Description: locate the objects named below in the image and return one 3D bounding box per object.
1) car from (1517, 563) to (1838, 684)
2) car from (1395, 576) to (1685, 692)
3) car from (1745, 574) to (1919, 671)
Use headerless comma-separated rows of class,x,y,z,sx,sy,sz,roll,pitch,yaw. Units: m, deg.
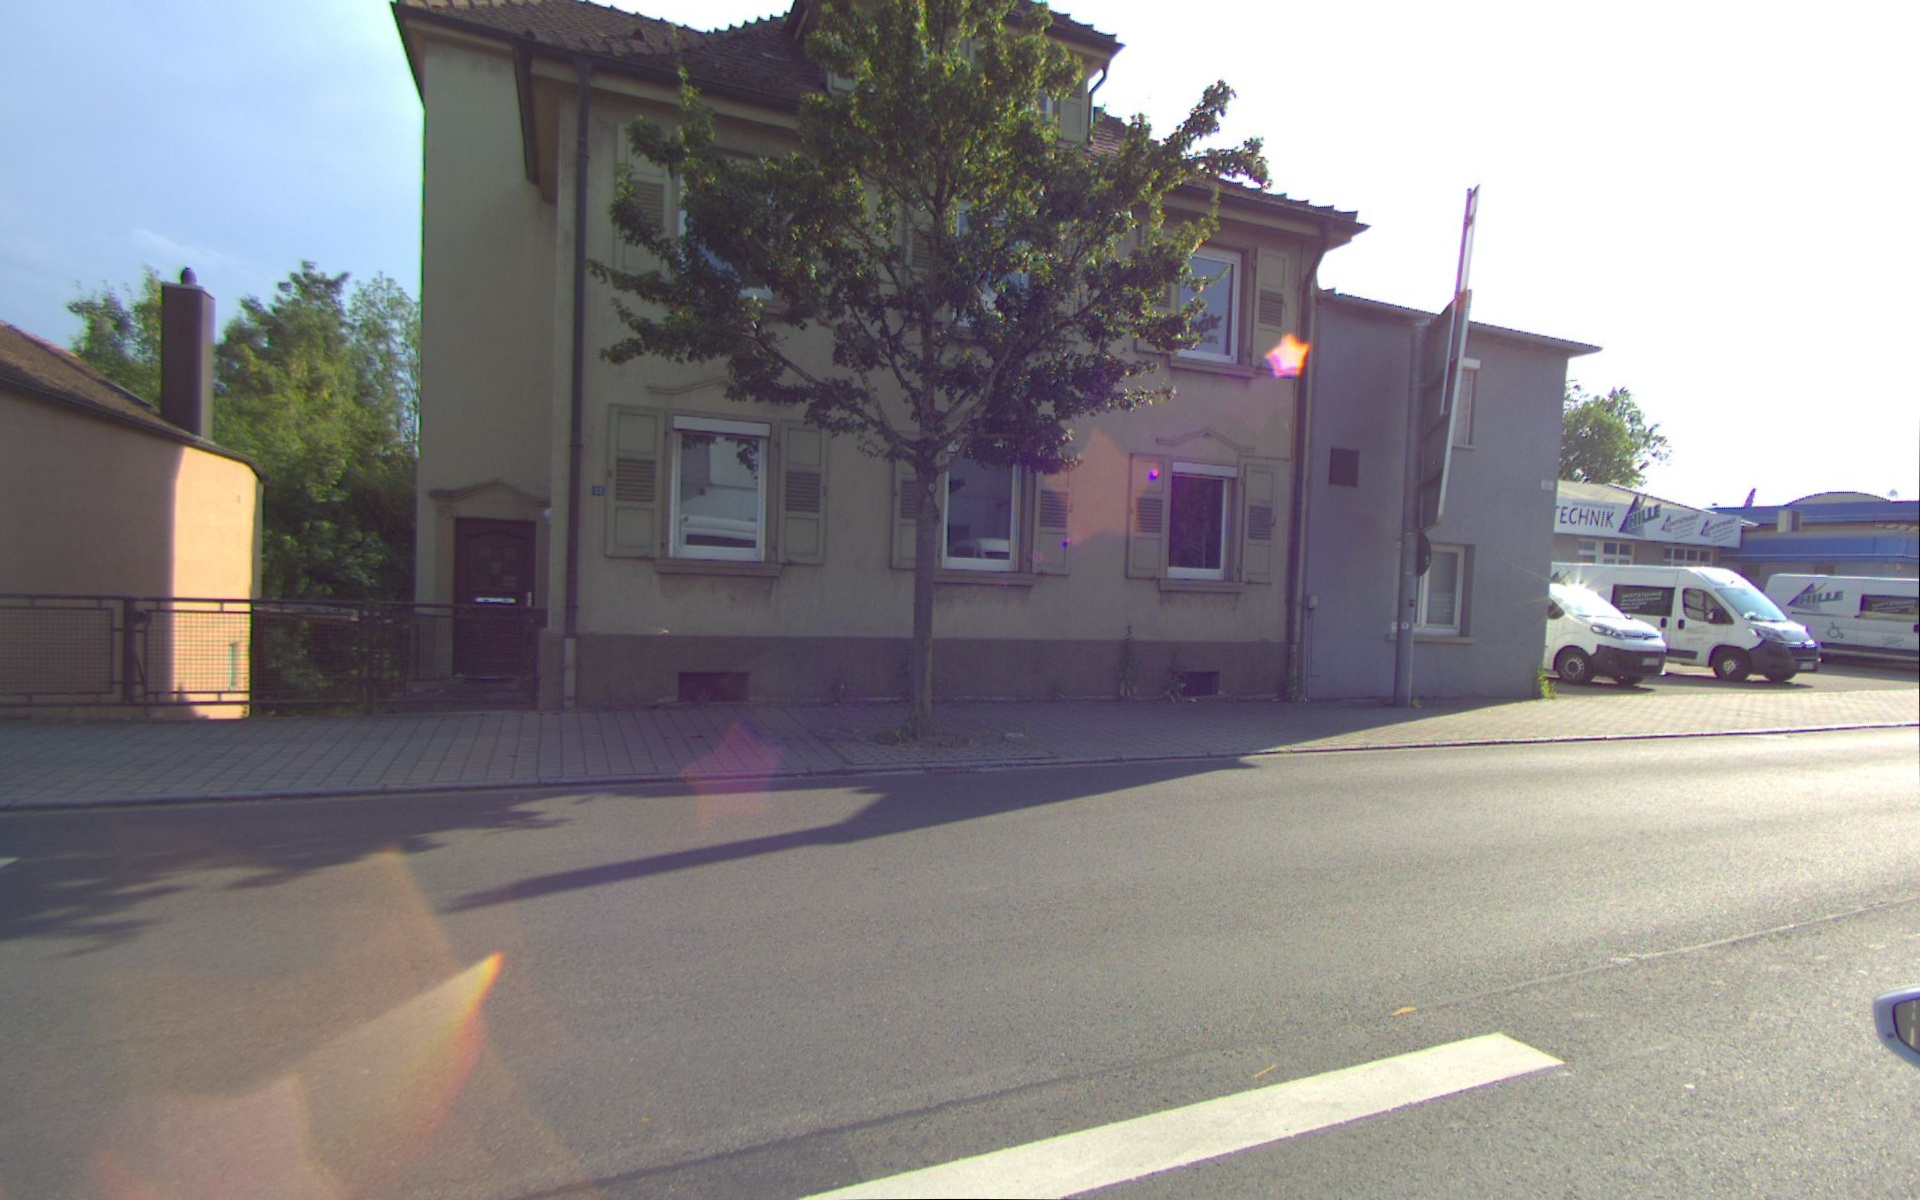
car,16.772,0.398,23.982,2.163,2.513,5.904,1,2,-24
car,11.744,0.581,20.800,1.909,2.026,4.960,1,1,-25
car,25.758,0.606,27.627,2.221,2.477,6.133,1,2,-28
